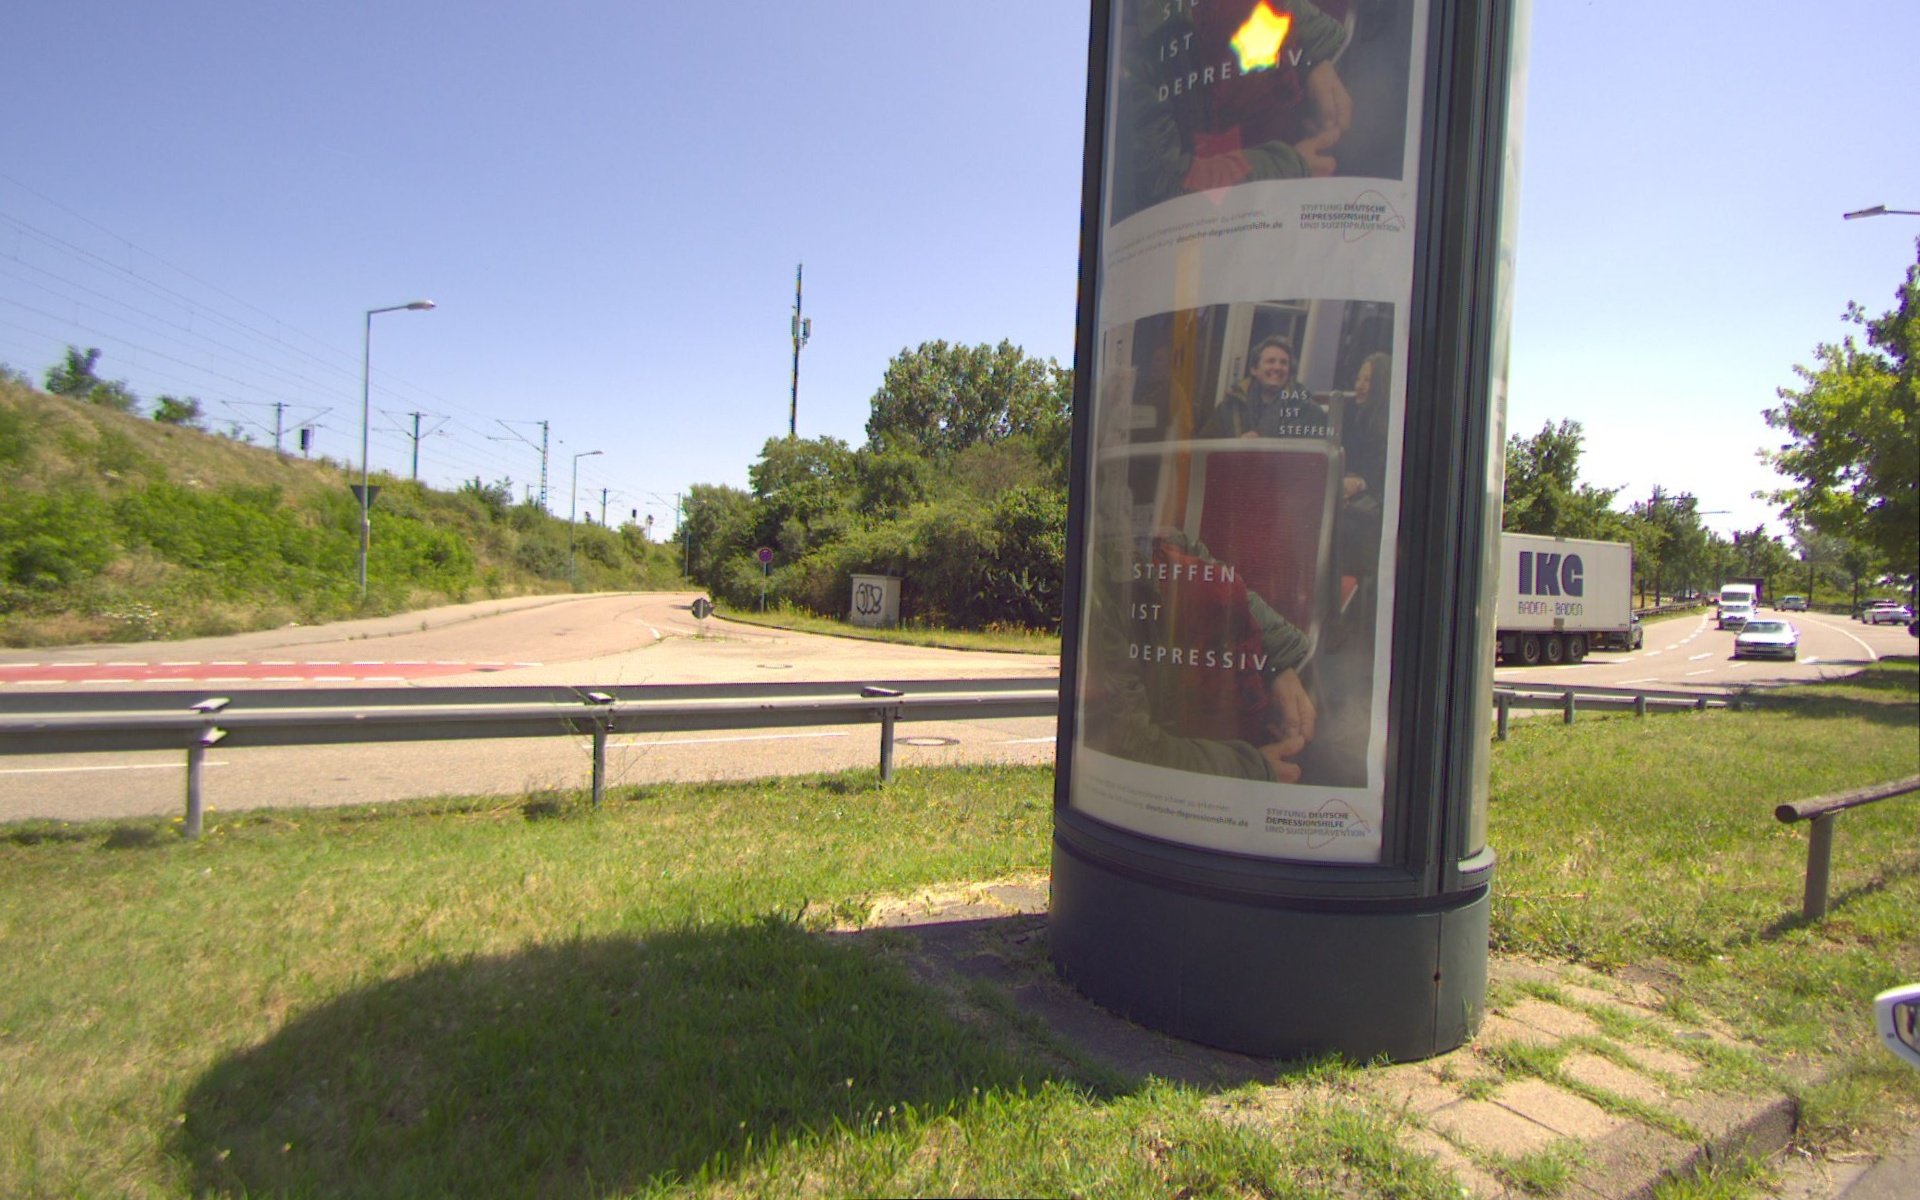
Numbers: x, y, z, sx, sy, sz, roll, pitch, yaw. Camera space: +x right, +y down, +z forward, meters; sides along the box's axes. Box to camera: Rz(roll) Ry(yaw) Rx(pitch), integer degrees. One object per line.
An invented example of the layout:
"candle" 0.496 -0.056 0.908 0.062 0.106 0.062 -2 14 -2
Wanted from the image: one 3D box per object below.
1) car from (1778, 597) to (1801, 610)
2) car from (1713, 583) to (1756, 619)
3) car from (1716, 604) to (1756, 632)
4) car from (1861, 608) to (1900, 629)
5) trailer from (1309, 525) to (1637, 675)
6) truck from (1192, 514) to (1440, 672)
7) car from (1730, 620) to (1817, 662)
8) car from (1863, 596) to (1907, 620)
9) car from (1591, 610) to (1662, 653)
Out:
"car" 78.416 0.378 94.988 1.303 1.154 2.987 2 0 34
"car" 57.152 0.080 74.064 2.071 2.534 5.777 0 0 42
"car" 46.062 1.078 59.596 1.616 1.588 4.051 0 -2 41
"car" 62.302 1.278 68.014 1.437 1.331 3.627 2 0 34
"trailer" 16.587 0.010 31.884 12.555 4.104 2.997 0 1 -30
"truck" 10.034 -0.130 28.508 6.162 4.075 2.545 2 0 -13
"car" 29.232 1.467 36.053 4.186 1.421 1.621 2 -1 -39
"car" 62.483 0.557 67.888 1.642 1.484 3.570 2 0 34
"car" 27.569 1.285 41.507 4.442 1.654 1.474 2 0 -44
